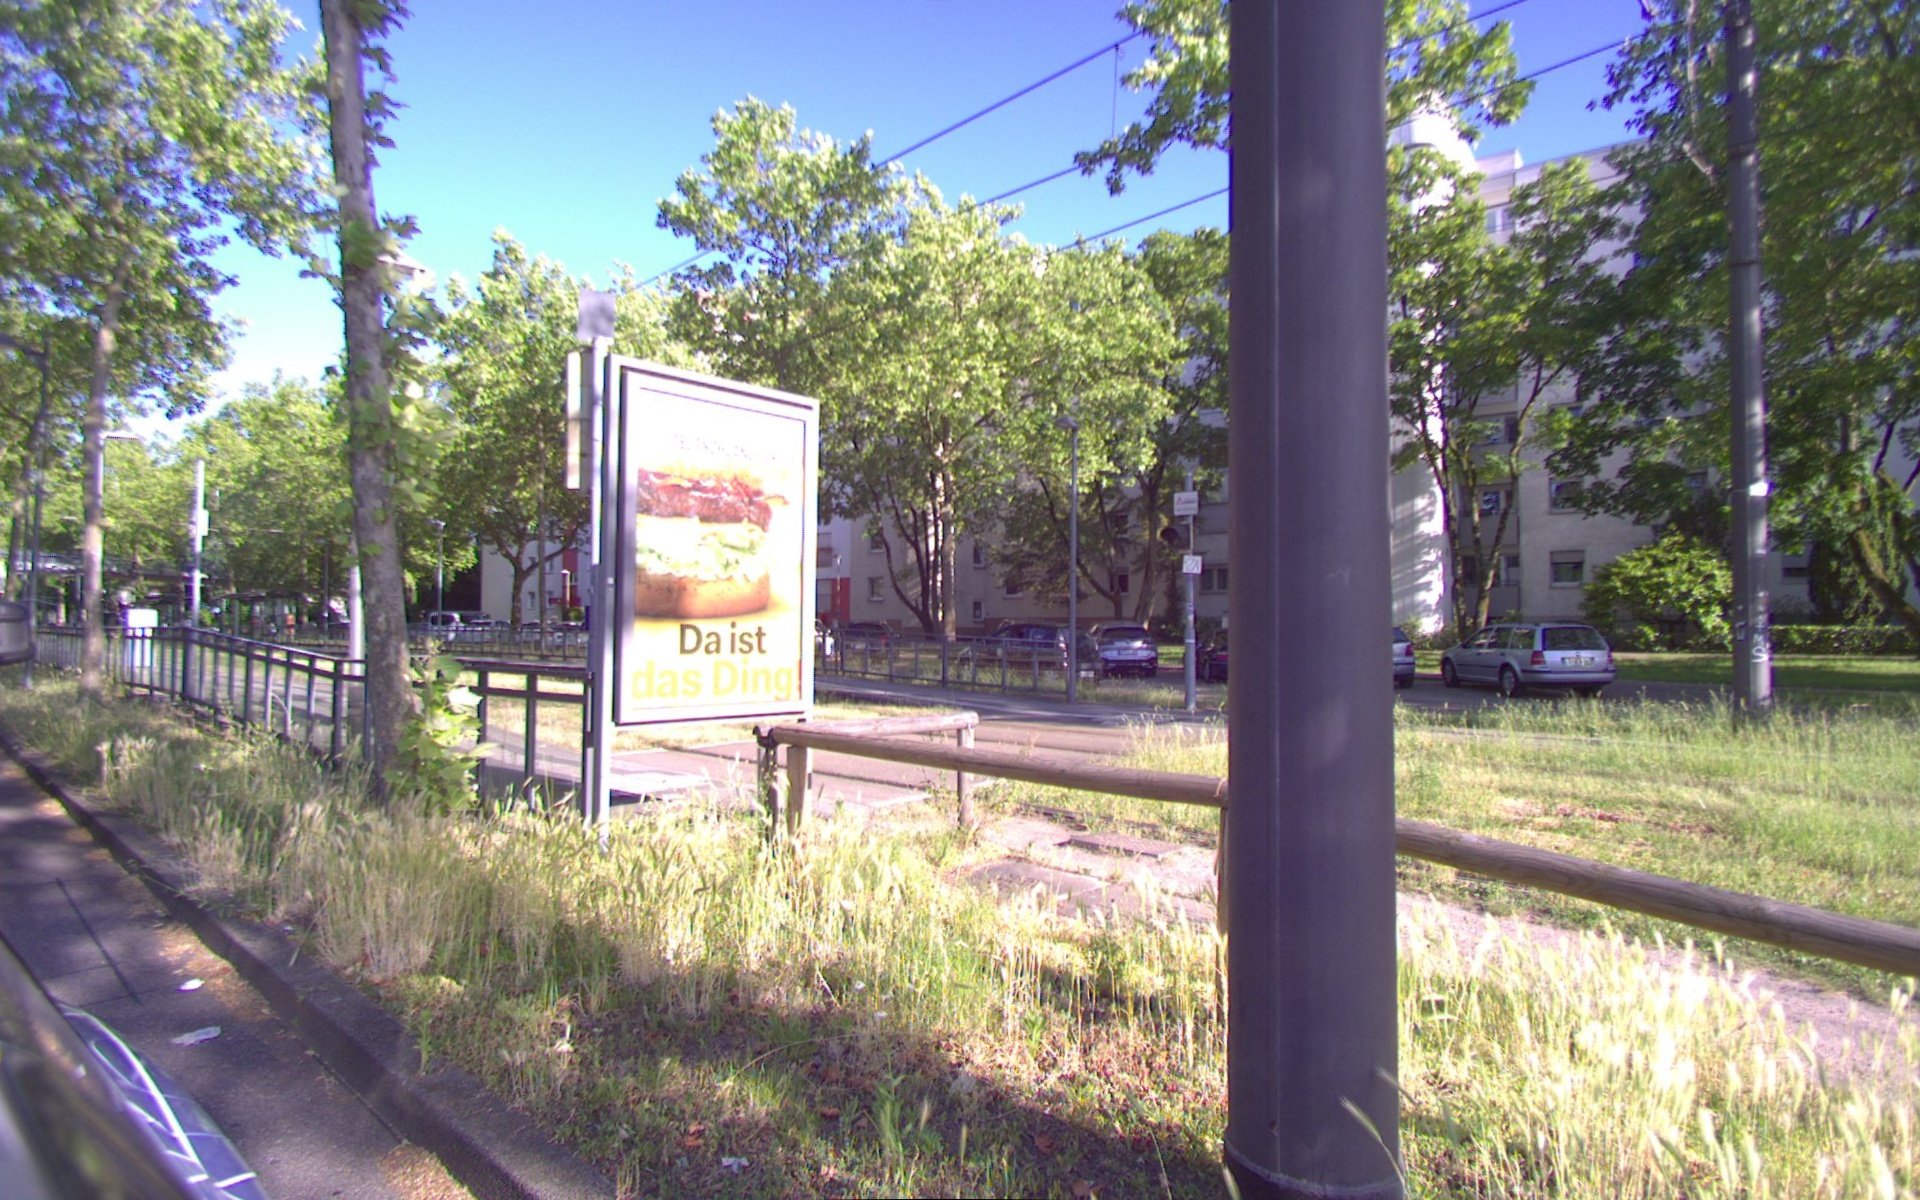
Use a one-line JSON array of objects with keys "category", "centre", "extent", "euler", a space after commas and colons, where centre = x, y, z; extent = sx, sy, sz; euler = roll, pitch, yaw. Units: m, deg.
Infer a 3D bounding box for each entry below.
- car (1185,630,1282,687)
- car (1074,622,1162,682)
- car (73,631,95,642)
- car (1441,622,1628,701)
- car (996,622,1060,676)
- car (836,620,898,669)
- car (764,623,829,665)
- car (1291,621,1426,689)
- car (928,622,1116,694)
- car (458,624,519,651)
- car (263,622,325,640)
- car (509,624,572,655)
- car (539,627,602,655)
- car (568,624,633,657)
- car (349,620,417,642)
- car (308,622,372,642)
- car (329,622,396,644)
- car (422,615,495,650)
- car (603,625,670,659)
[{"category": "car", "centre": [6.723, 1.408, 25.207], "extent": [1.602, 1.256, 3.677], "euler": [0, -1, 4]}, {"category": "car", "centre": [4.200, 1.354, 27.493], "extent": [1.894, 1.507, 3.680], "euler": [0, -1, 2]}, {"category": "car", "centre": [-109.058, 4.566, 125.932], "extent": [3.294, 1.370, 1.651], "euler": [-1, -2, 41]}, {"category": "car", "centre": [11.542, 1.184, 20.629], "extent": [1.707, 1.444, 3.681], "euler": [0, -1, 1]}, {"category": "car", "centre": [1.927, 1.375, 29.446], "extent": [1.664, 1.482, 3.680], "euler": [0, -1, 1]}, {"category": "car", "centre": [-3.114, 1.466, 34.468], "extent": [1.664, 1.579, 3.679], "euler": [0, -1, 2]}, {"category": "car", "centre": [-5.916, 1.579, 36.918], "extent": [1.664, 1.444, 3.679], "euler": [0, -1, 2]}, {"category": "car", "centre": [9.147, 1.227, 23.528], "extent": [1.679, 1.444, 3.681], "euler": [0, -1, 1]}, {"category": "car", "centre": [1.325, 1.216, 22.237], "extent": [3.750, 1.431, 1.805], "euler": [-1, -2, 36]}, {"category": "car", "centre": [-25.806, 2.043, 55.518], "extent": [1.627, 1.407, 3.680], "euler": [0, -1, 1]}, {"category": "car", "centre": [-52.154, 2.413, 79.363], "extent": [1.898, 1.386, 4.365], "euler": [0, -1, 1]}, {"category": "car", "centre": [-21.131, 1.967, 51.133], "extent": [1.627, 1.460, 3.680], "euler": [0, -1, 1]}, {"category": "car", "centre": [-19.053, 1.989, 49.666], "extent": [1.627, 1.251, 3.680], "euler": [0, -1, 1]}, {"category": "car", "centre": [-16.689, 1.850, 47.136], "extent": [1.627, 1.460, 3.680], "euler": [0, -1, 1]}, {"category": "car", "centre": [-37.916, 2.046, 66.610], "extent": [1.898, 1.386, 4.365], "euler": [0, -1, 1]}, {"category": "car", "centre": [-44.652, 2.290, 72.983], "extent": [1.898, 1.386, 4.365], "euler": [0, -1, 1]}, {"category": "car", "centre": [-40.291, 2.212, 68.390], "extent": [1.898, 1.386, 4.365], "euler": [0, -1, 1]}, {"category": "car", "centre": [-28.334, 1.834, 57.327], "extent": [1.898, 1.898, 4.365], "euler": [0, -1, 1]}, {"category": "car", "centre": [-14.090, 1.827, 44.280], "extent": [1.627, 1.403, 3.679], "euler": [0, -1, 2]}]
